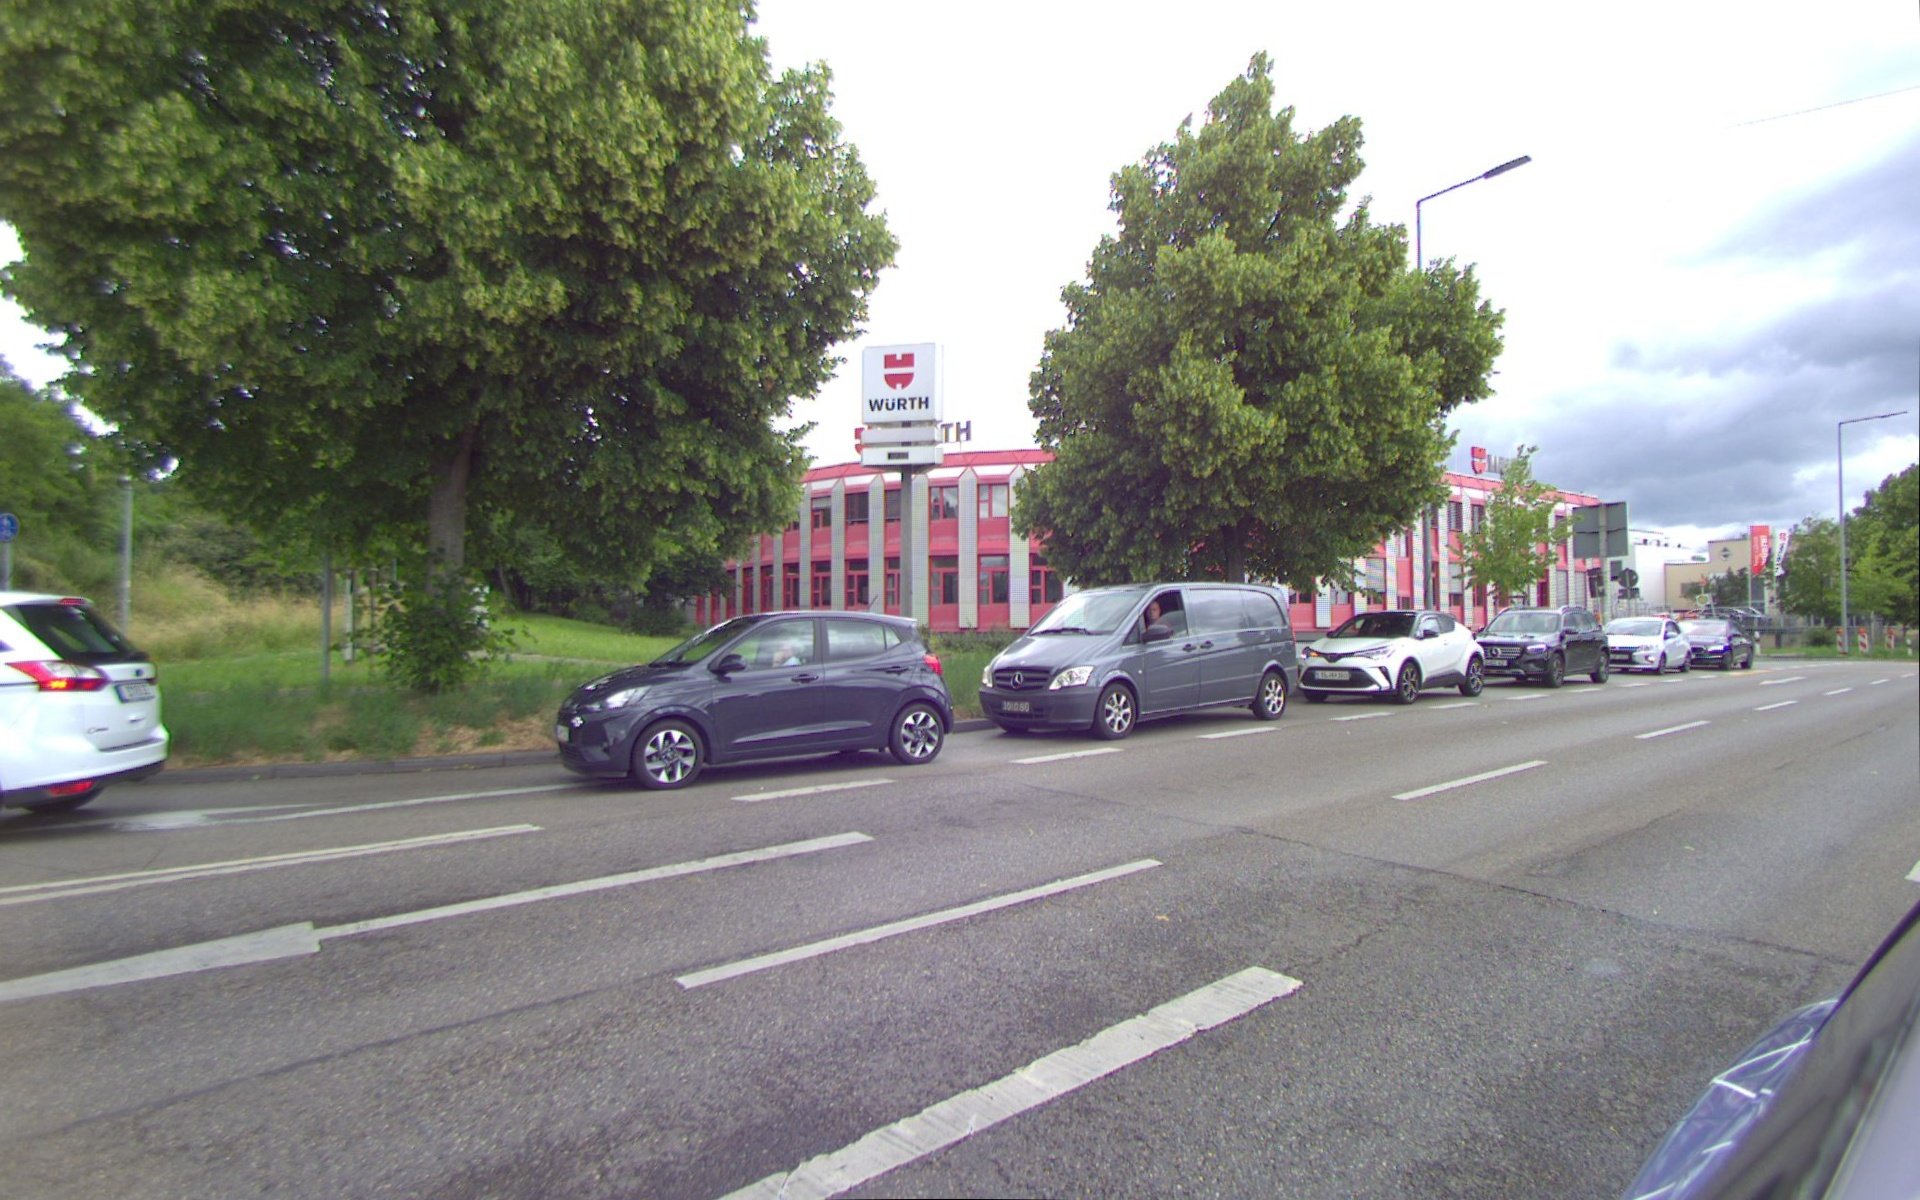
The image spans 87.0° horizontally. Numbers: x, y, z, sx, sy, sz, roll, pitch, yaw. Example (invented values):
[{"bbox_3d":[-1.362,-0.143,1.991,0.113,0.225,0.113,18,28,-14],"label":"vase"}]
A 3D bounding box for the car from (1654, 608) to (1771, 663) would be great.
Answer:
[{"bbox_3d":[22.216,1.062,29.812,4.446,1.464,1.784,3,-1,-40],"label":"car"}]

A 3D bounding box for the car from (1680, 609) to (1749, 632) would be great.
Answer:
[{"bbox_3d":[61.810,1.694,82.955,1.752,1.776,4.247,0,0,-39],"label":"car"}]

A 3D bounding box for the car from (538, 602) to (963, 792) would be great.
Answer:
[{"bbox_3d":[-1.914,0.788,9.489,3.545,1.449,1.625,0,-3,-33],"label":"car"}]

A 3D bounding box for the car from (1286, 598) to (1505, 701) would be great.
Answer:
[{"bbox_3d":[7.571,0.800,17.426,4.230,1.555,1.783,0,-3,-41],"label":"car"}]

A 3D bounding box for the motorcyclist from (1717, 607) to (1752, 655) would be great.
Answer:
[{"bbox_3d":[25.153,1.013,32.868,0.918,1.510,0.748,2,-3,-45],"label":"motorcyclist"}]

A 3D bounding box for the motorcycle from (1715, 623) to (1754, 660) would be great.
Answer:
[{"bbox_3d":[25.164,1.330,32.866,1.911,1.162,0.748,2,-3,-45],"label":"motorcycle"}]

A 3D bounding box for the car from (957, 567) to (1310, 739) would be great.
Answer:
[{"bbox_3d":[2.372,0.624,13.158,4.636,1.858,1.919,0,-3,-39],"label":"car"}]

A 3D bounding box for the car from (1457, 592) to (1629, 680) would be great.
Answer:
[{"bbox_3d":[12.479,0.762,21.564,4.346,1.671,1.784,3,-1,-40],"label":"car"}]

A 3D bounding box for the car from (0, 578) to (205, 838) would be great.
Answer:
[{"bbox_3d":[-7.872,0.737,6.616,4.365,1.616,1.786,-1,-3,-20],"label":"car"}]

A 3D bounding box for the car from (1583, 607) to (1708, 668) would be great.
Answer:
[{"bbox_3d":[18.188,1.000,26.813,3.766,1.461,1.784,3,-1,-40],"label":"car"}]
